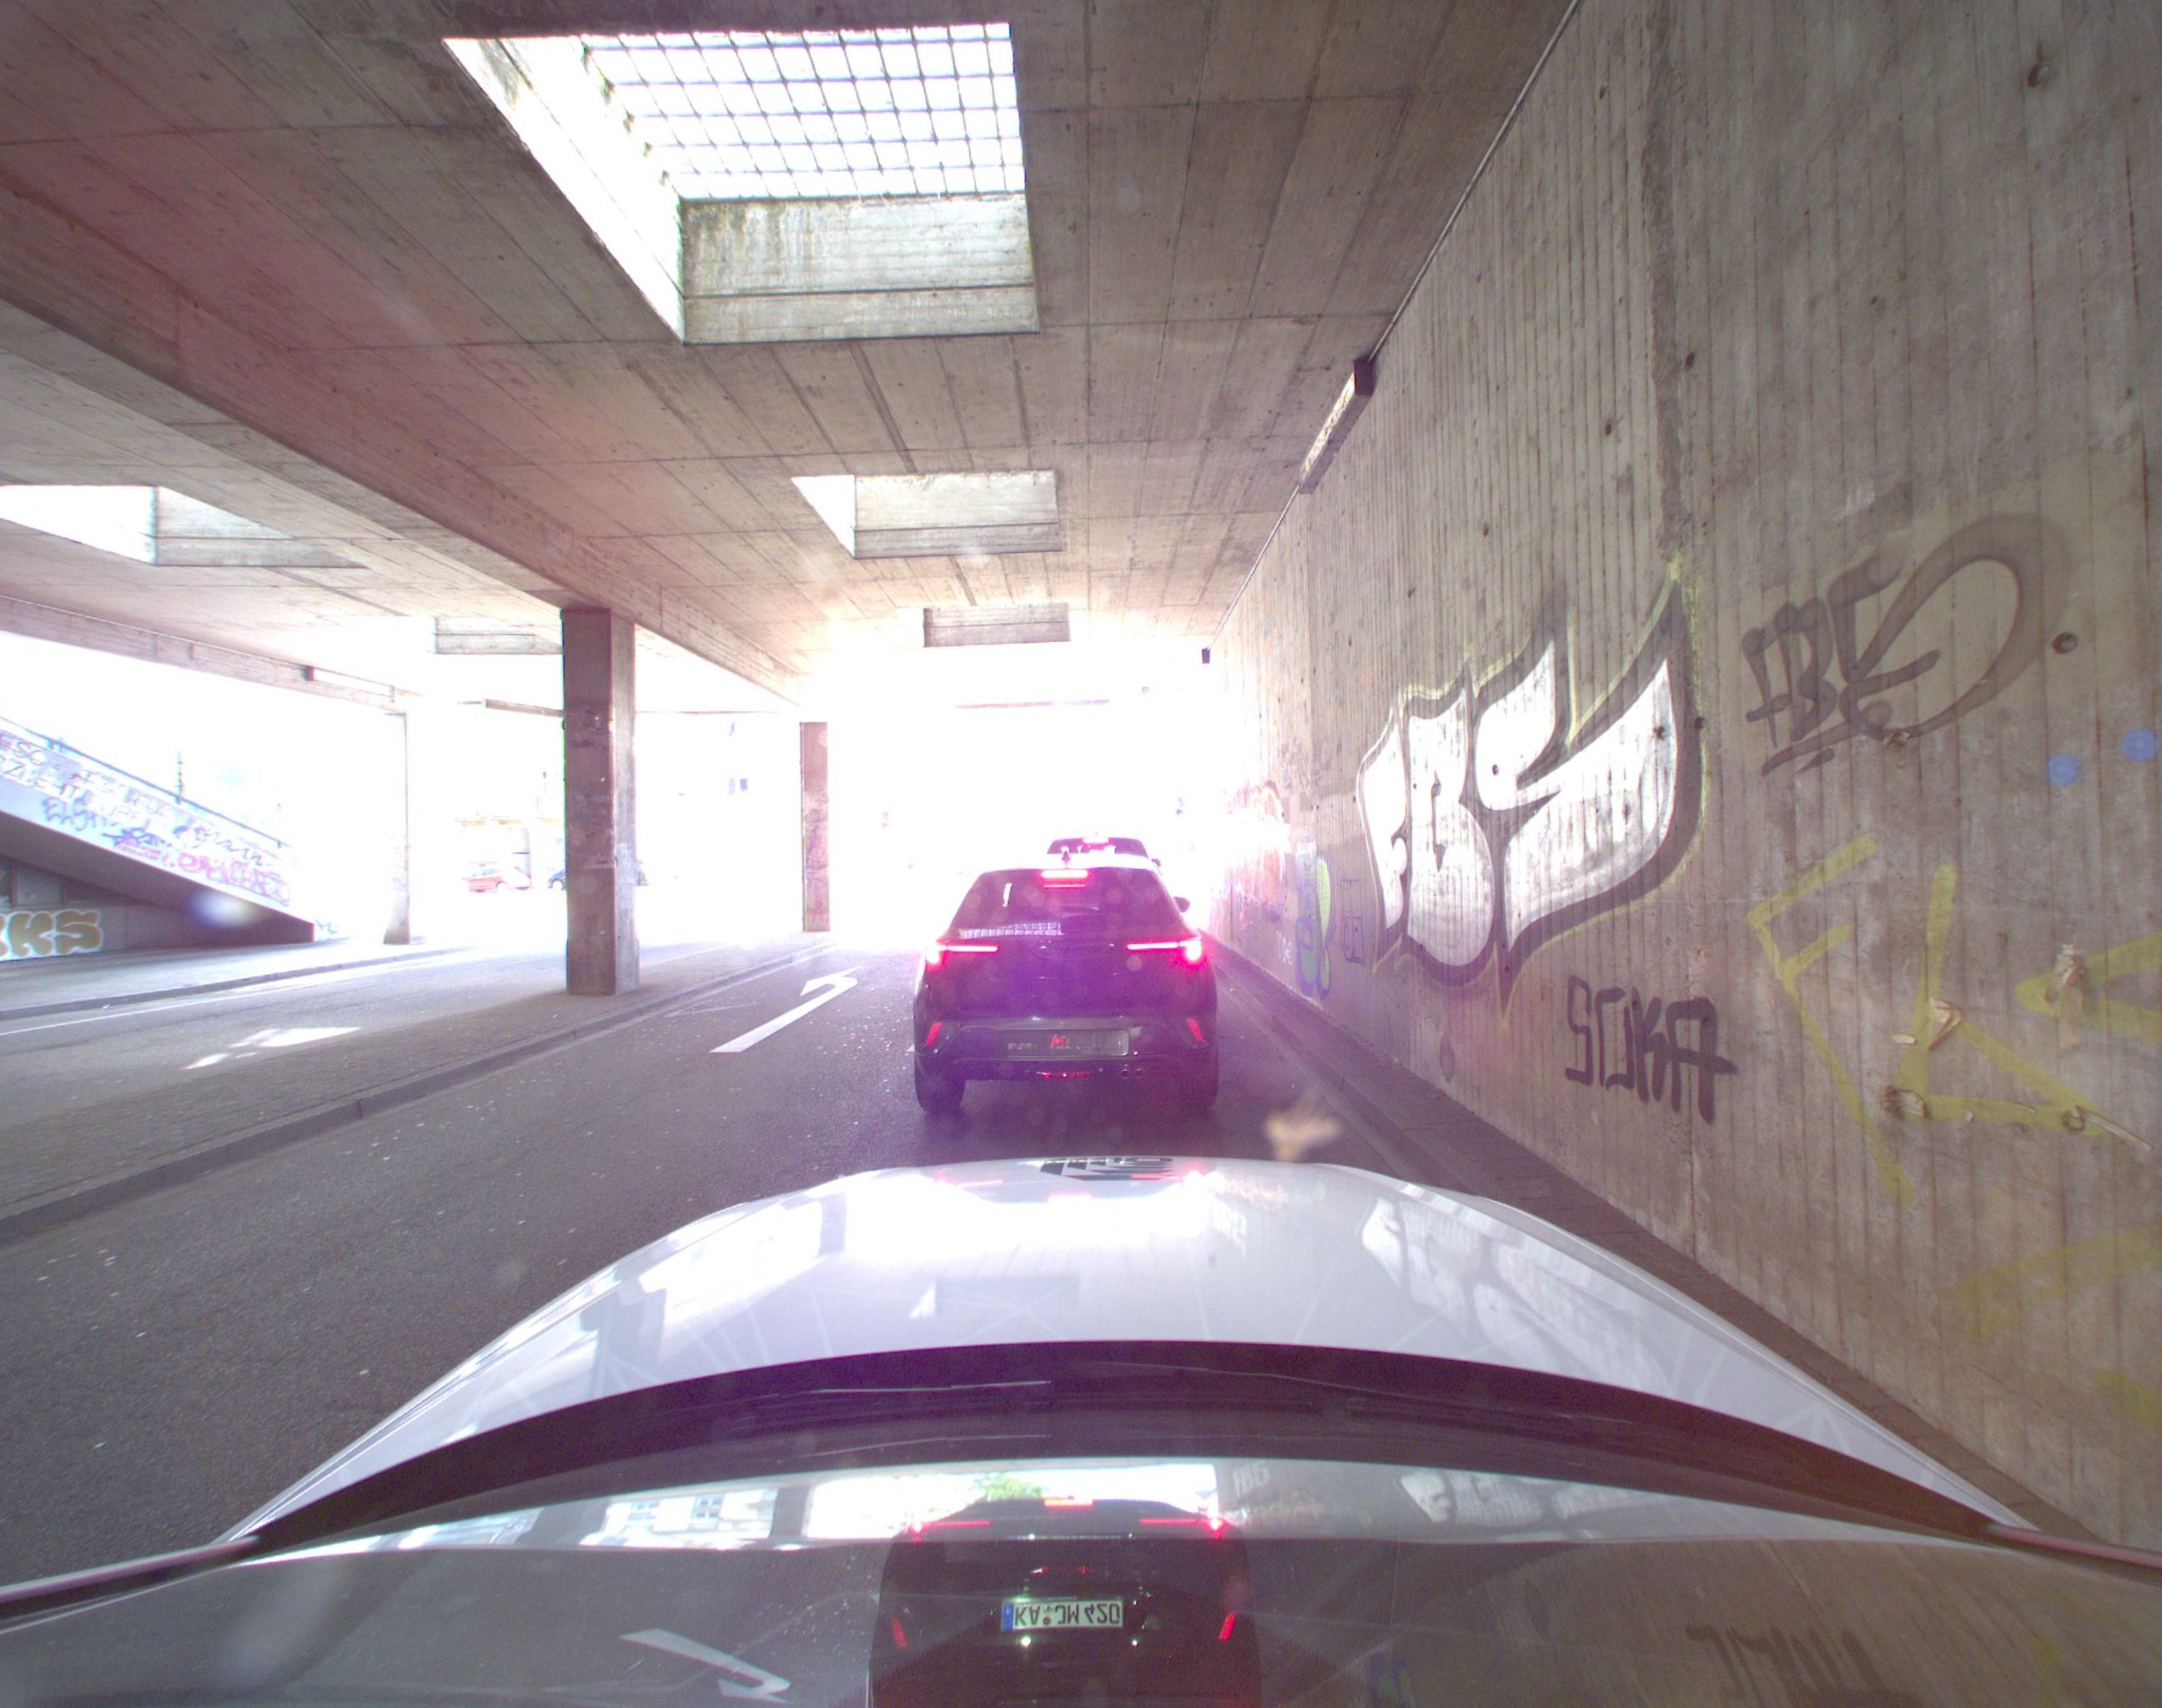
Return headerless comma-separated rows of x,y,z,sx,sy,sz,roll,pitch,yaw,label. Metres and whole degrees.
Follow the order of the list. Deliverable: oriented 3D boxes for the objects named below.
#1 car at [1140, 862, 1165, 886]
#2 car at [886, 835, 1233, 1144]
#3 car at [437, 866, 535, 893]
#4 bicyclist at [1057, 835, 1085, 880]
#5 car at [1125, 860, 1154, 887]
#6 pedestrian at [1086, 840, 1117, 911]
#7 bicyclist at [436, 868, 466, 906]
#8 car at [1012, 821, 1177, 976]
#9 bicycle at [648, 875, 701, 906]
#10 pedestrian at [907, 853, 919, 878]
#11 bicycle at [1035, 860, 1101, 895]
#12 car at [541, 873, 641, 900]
6.042,1.641,68.375,1.983,1.970,4.172,0,-1,7,car
-0.044,0.658,6.153,1.758,1.571,4.002,0,1,2,car
-32.984,1.416,45.233,3.975,1.409,1.925,0,-1,-1,car
-0.323,0.118,26.181,0.733,1.423,0.686,-3,-1,8,bicyclist
4.508,1.451,62.340,1.983,1.970,4.172,0,-1,7,car
0.504,0.523,20.166,0.728,1.734,0.874,0,-1,1,pedestrian
-23.216,1.213,30.008,0.742,1.376,0.453,0,-1,4,bicyclist
0.229,0.547,12.063,1.986,1.871,4.002,-2,0,2,car
-14.818,1.334,29.684,1.732,1.118,0.477,0,-1,4,bicycle
-11.266,0.755,54.649,0.669,1.637,0.741,0,-1,1,pedestrian
-0.411,0.754,26.183,1.978,1.050,0.720,-2,-1,8,bicycle
-27.213,1.765,45.323,4.393,1.409,1.925,0,-1,-1,car
